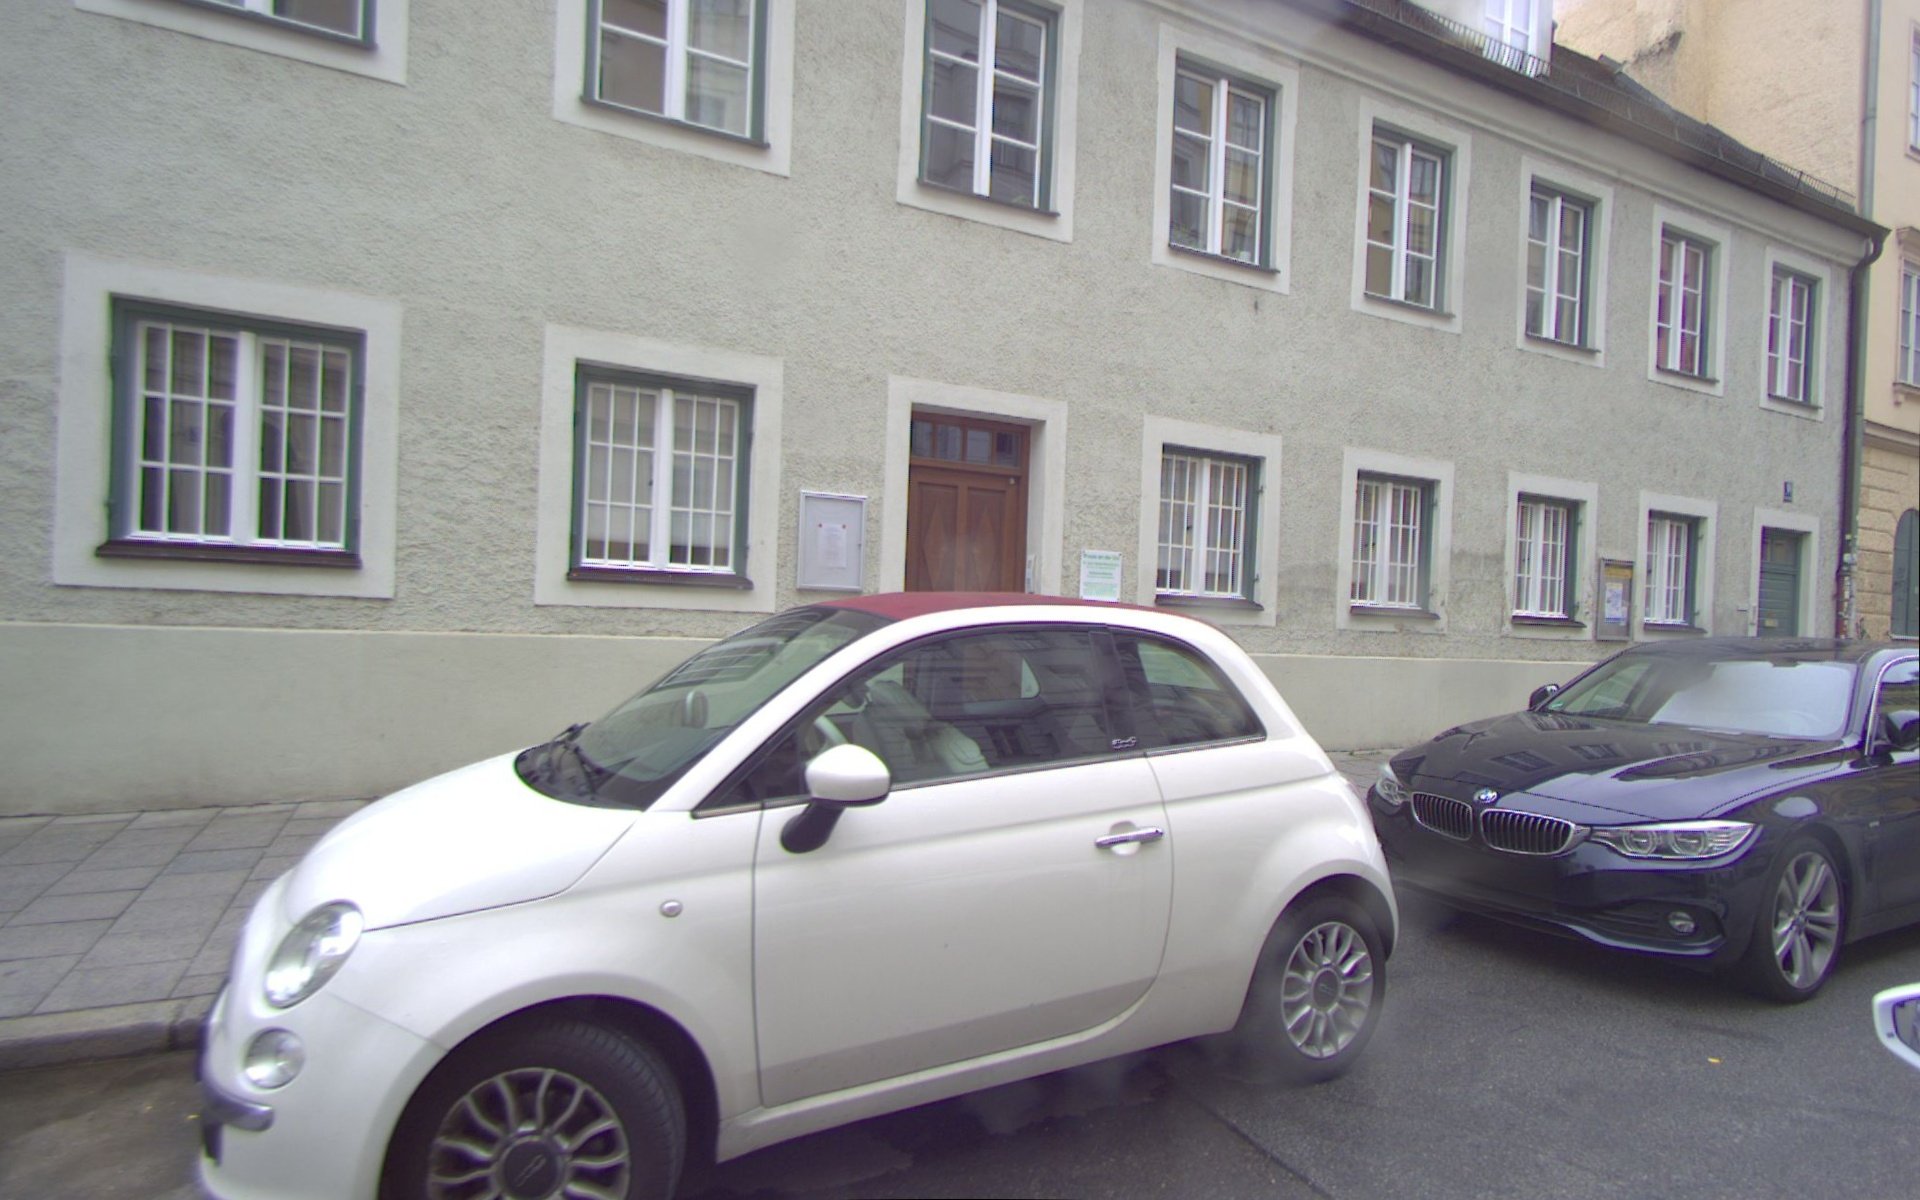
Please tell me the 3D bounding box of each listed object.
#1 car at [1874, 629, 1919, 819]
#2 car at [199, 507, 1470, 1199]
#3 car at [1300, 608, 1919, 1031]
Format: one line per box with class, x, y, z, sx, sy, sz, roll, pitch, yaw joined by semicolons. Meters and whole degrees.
car;9.440;1.026;7.993;4.215;1.420;1.850;2;1;-28
car;-0.173;0.637;3.219;3.382;1.535;1.562;2;1;-29
car;4.066;0.842;5.293;4.214;1.420;1.851;2;1;-26
